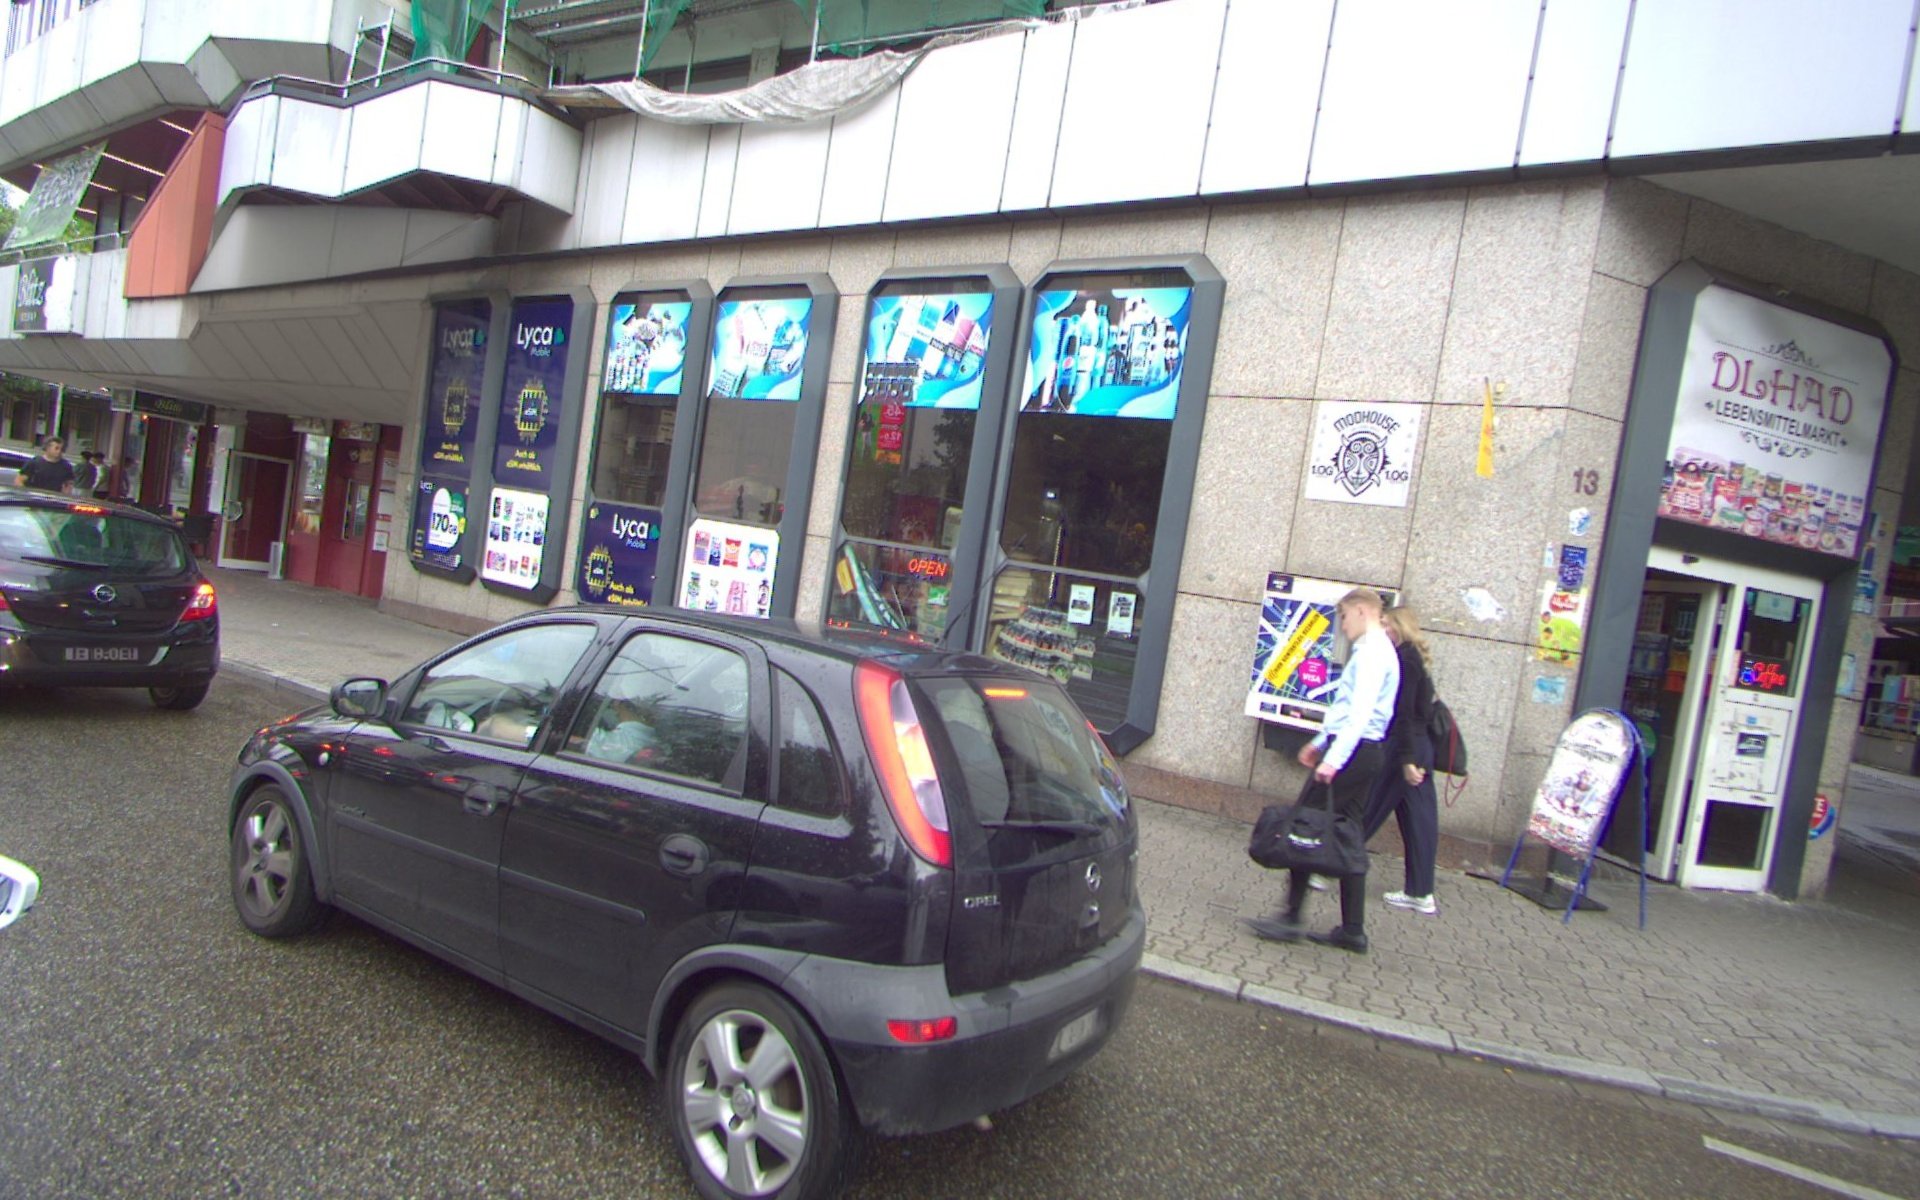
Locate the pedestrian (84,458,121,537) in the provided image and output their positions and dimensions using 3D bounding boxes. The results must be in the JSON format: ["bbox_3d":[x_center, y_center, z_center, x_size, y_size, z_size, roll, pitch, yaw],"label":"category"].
[{"bbox_3d":[-18.832,-2.252,22.100,0.496,1.660,0.396,6,1,32],"label":"pedestrian"}]

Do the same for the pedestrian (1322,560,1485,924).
[{"bbox_3d":[2.626,0.778,5.939,0.629,1.961,0.736,6,4,31],"label":"pedestrian"}]

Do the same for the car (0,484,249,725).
[{"bbox_3d":[-7.242,-0.137,7.462,3.776,1.446,1.620,8,-1,29],"label":"car"}]

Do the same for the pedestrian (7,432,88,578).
[{"bbox_3d":[-12.199,-1.245,13.445,0.763,1.841,0.739,7,4,43],"label":"pedestrian"}]

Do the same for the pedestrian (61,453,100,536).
[{"bbox_3d":[-18.792,-2.247,21.493,0.443,1.704,0.426,6,1,30],"label":"pedestrian"}]

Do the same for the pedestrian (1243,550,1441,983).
[{"bbox_3d":[1.950,0.789,5.096,0.629,1.957,0.737,6,-1,31],"label":"pedestrian"}]

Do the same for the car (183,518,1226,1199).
[{"bbox_3d":[-1.097,0.668,3.713,3.563,1.446,1.609,8,-1,33],"label":"car"}]

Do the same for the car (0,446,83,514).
[{"bbox_3d":[-26.415,-3.426,27.037,1.593,1.503,3.911,6,-2,19],"label":"car"}]
